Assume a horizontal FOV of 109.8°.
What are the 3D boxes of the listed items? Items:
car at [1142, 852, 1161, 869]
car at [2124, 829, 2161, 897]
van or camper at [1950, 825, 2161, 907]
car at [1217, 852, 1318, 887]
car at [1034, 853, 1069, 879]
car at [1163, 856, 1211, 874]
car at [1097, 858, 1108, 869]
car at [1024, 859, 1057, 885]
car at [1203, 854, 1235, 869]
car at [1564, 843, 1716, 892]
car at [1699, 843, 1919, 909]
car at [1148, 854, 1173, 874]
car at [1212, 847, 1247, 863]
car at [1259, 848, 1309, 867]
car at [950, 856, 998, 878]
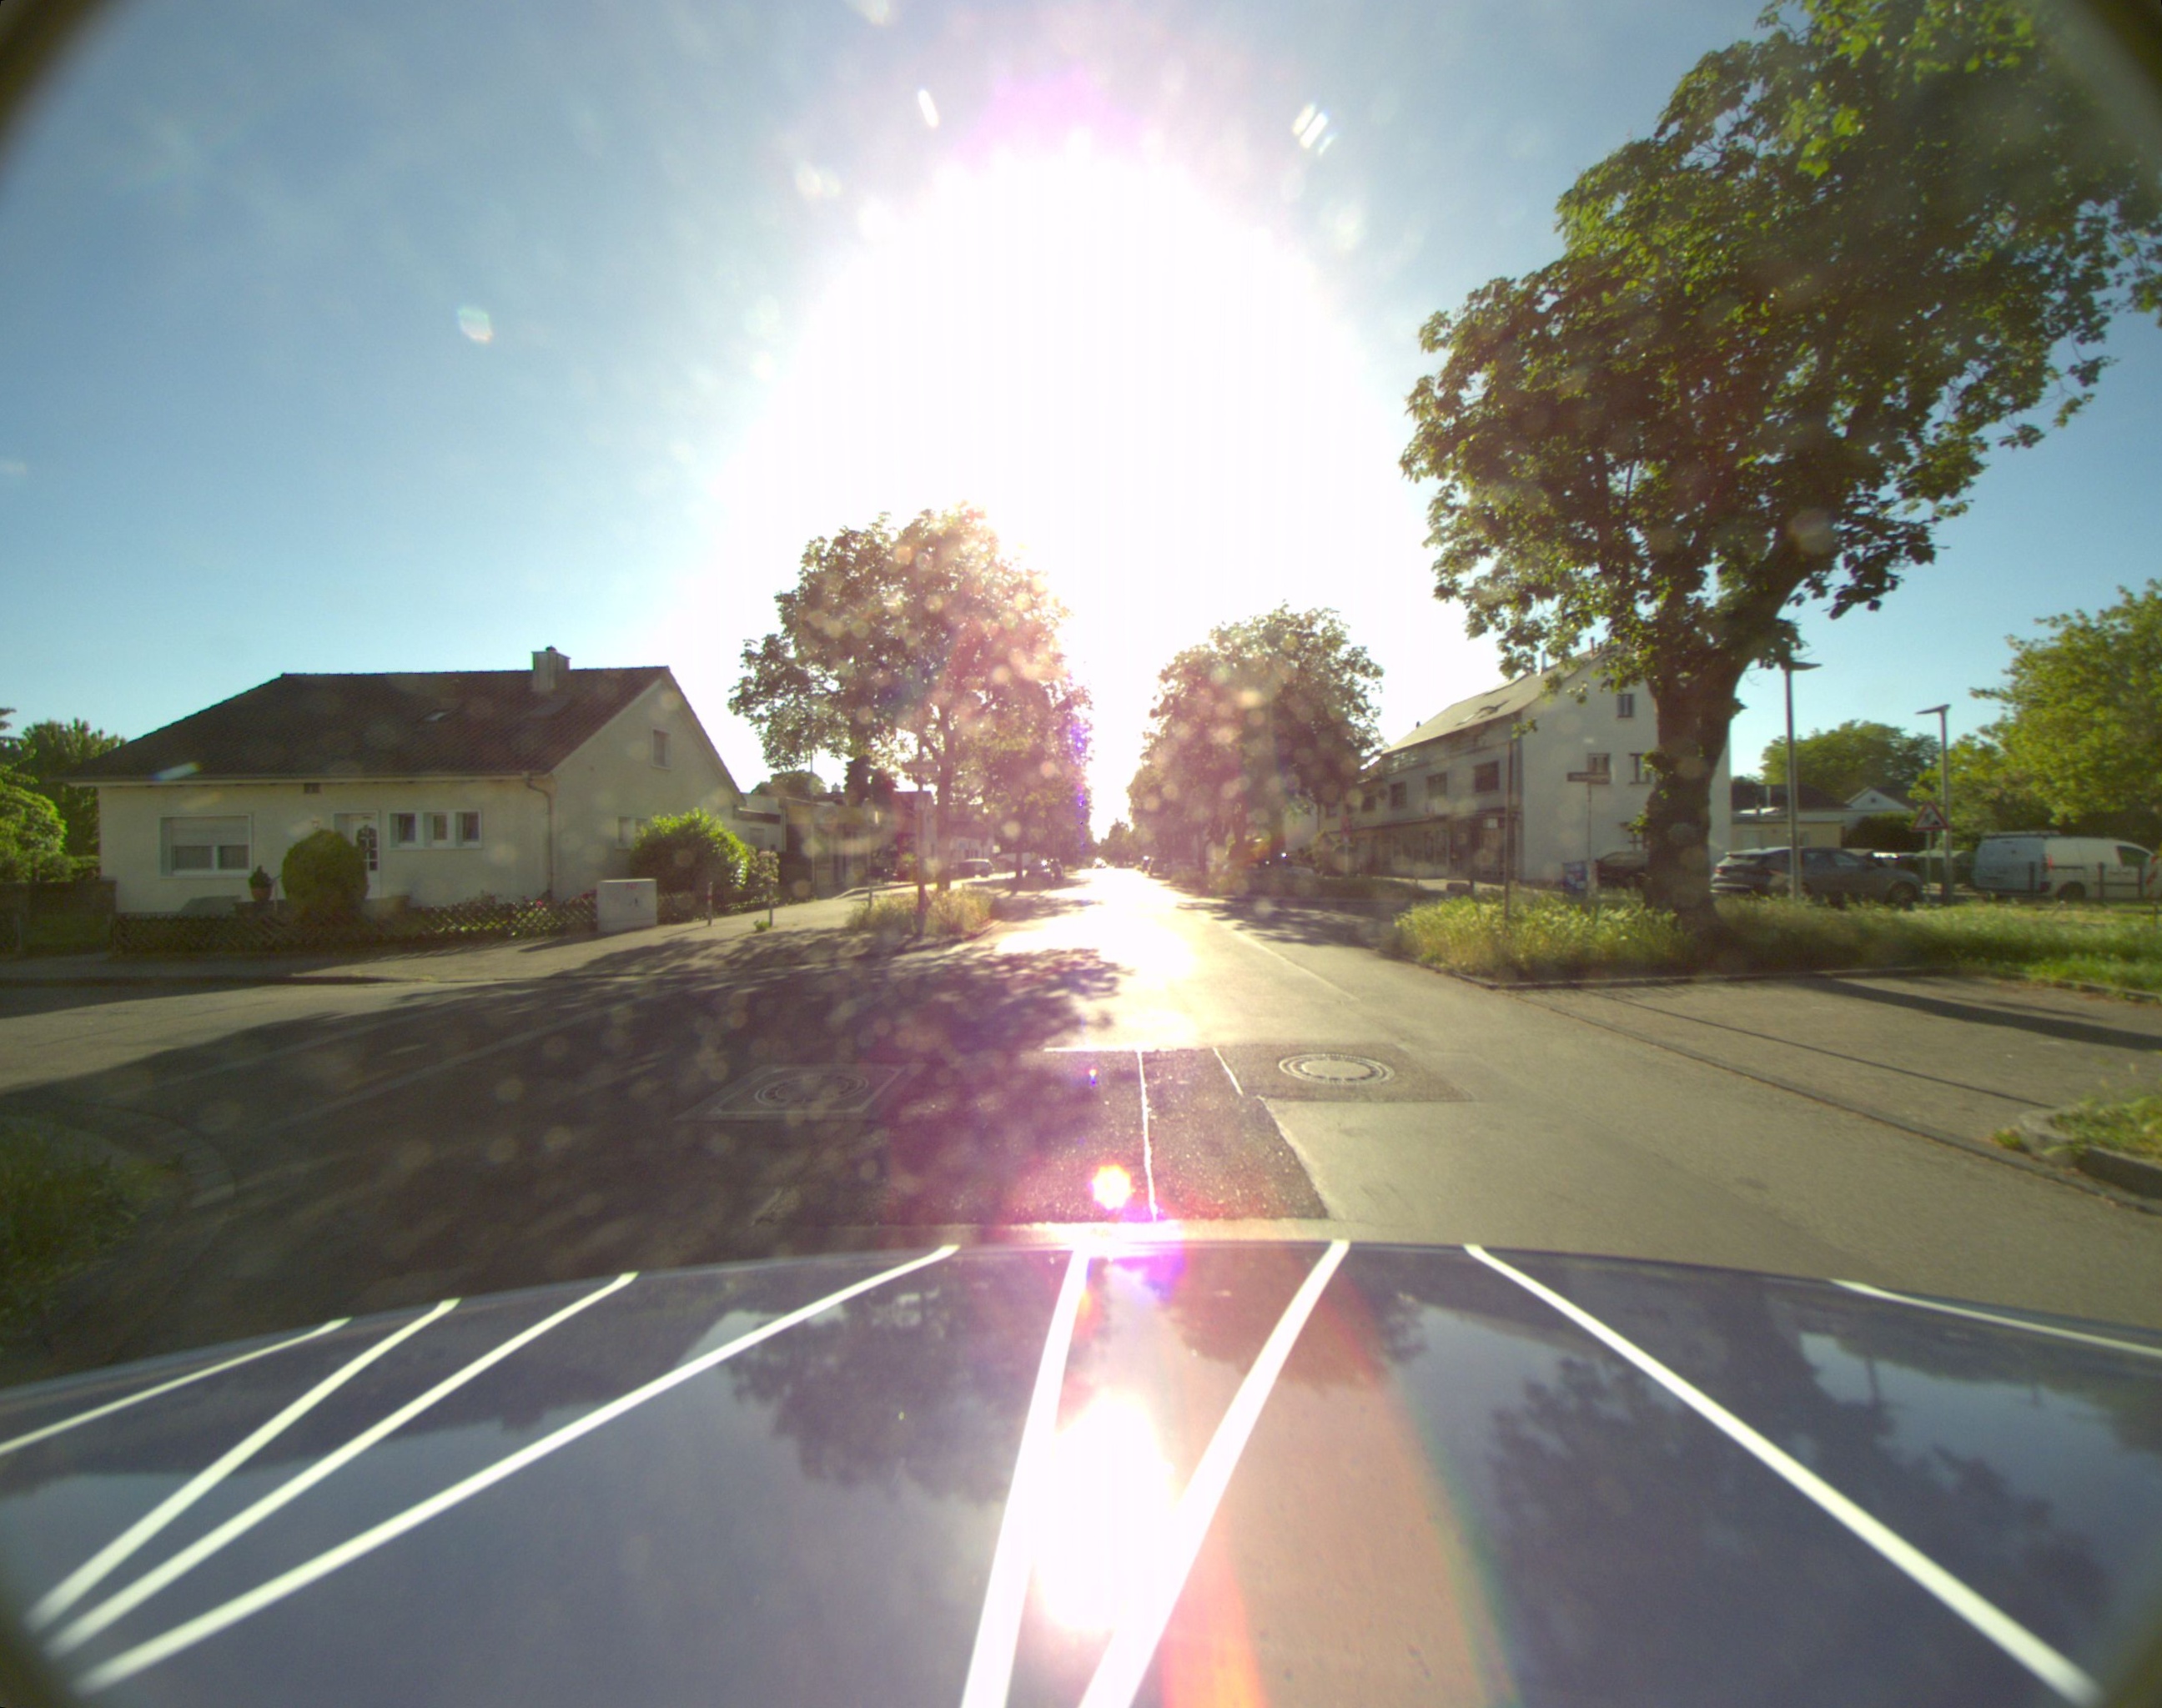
[{"bbox_3d":[7.428,0.659,80.404,1.815,1.722,4.056,-1,0,4],"label":"car"},{"bbox_3d":[31.131,0.187,20.247,3.997,1.819,2.000,-2,1,-1],"label":"car"},{"bbox_3d":[26.378,0.277,20.037,4.684,2.002,2.000,-1,1,-1],"label":"van or camper"},{"bbox_3d":[8.996,0.737,36.903,4.392,1.408,2.000,-3,1,1],"label":"car"},{"bbox_3d":[-2.022,0.814,53.361,1.941,1.684,4.363,-2,0,4],"label":"car"},{"bbox_3d":[8.948,0.944,64.204,3.694,1.315,1.624,-3,1,-4],"label":"car"},{"bbox_3d":[3.451,1.533,121.832,1.539,1.582,3.459,-4,1,4],"label":"car"},{"bbox_3d":[-2.445,1.084,47.021,1.689,1.414,3.777,0,1,2],"label":"car"},{"bbox_3d":[19.233,1.021,105.653,3.997,1.674,2.000,-4,1,1],"label":"car"},{"bbox_3d":[21.216,0.441,29.175,1.999,1.555,4.906,-1,2,-3],"label":"car"},{"bbox_3d":[18.941,0.527,19.905,3.999,1.628,1.999,0,1,-5],"label":"car"},{"bbox_3d":[7.236,0.883,69.093,1.998,1.530,3.695,-4,1,4],"label":"car"},{"bbox_3d":[19.123,0.126,97.710,3.997,1.674,2.000,-4,1,1],"label":"car"},{"bbox_3d":[17.041,0.285,63.938,3.773,1.556,1.691,0,1,5],"label":"car"},{"bbox_3d":[-8.730,1.038,62.115,3.621,1.431,1.695,-4,1,-2],"label":"car"}]
